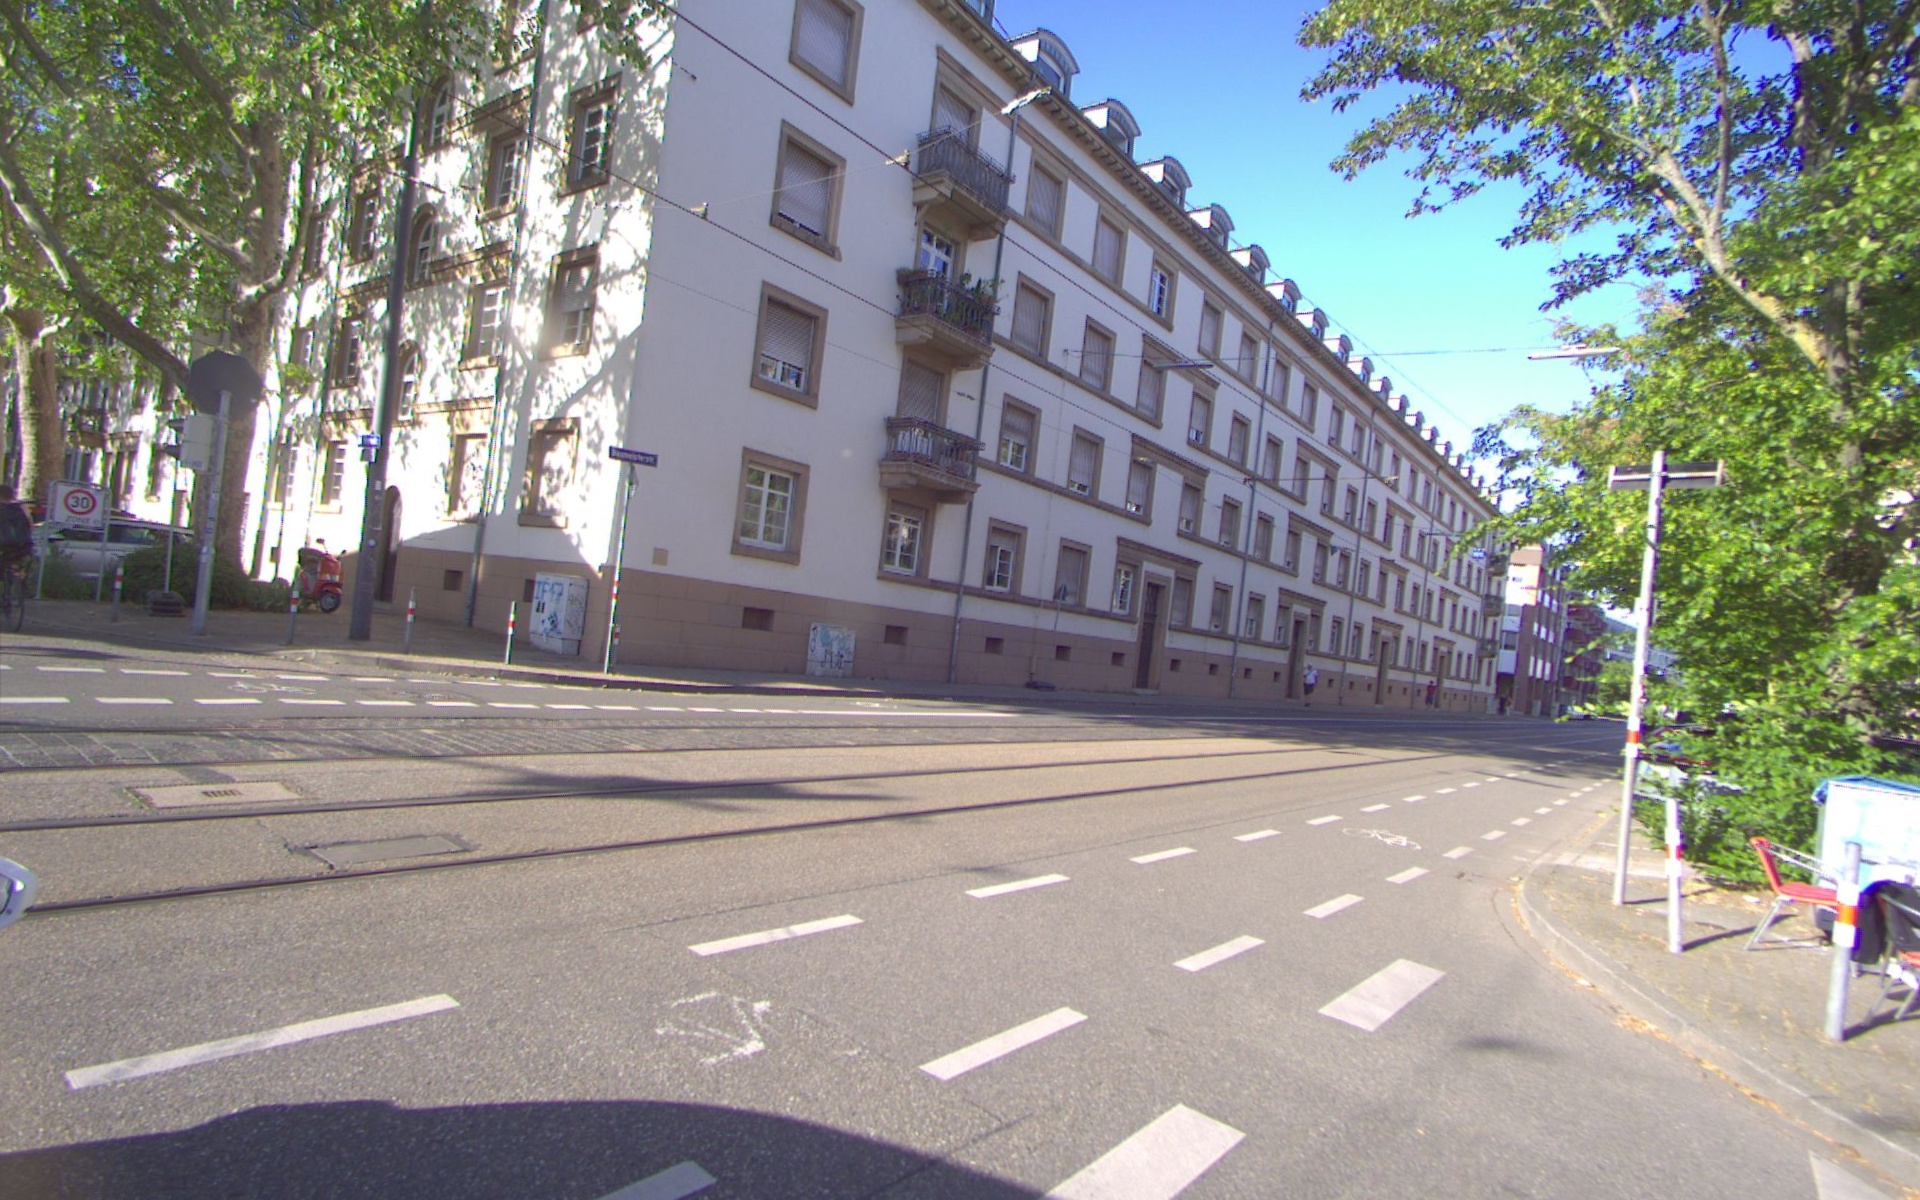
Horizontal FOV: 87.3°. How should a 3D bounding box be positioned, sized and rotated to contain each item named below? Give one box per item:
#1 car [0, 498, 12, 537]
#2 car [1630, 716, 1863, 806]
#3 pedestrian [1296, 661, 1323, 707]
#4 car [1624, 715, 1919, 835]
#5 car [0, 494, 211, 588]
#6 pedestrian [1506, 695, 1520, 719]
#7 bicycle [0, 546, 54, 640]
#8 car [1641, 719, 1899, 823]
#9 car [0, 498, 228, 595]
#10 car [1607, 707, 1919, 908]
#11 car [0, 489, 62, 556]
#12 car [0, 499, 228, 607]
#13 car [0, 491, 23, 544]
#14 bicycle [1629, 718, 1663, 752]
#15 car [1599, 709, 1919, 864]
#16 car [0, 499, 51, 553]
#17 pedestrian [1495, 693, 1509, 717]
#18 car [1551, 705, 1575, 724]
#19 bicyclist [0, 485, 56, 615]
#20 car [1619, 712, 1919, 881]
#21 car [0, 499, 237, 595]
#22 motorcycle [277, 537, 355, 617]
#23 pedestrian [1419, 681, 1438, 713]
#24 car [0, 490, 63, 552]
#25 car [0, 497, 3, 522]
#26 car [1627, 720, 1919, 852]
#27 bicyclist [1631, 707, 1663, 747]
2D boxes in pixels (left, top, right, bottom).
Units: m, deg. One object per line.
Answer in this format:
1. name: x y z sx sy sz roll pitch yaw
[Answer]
1. car: -41.865 -3.715 40.940 1.702 1.589 4.463 6 -2 37
2. car: 18.640 3.802 23.988 4.056 1.506 1.621 5 -1 5
3. pedestrian: 15.137 3.640 43.583 0.727 1.859 0.694 7 0 37
4. car: 15.051 3.177 18.815 4.061 1.506 1.620 5 -1 24
5. car: -21.536 -1.453 24.852 1.702 1.690 4.463 6 -2 37
6. pedestrian: 45.144 8.750 82.153 0.727 1.859 0.694 7 0 37
7. bicycle: -12.118 -0.141 12.620 1.879 1.027 0.690 6 -3 38
8. car: 17.313 3.601 21.786 4.069 1.506 1.616 5 -1 33
9. car: -18.616 -1.158 21.471 1.702 1.518 4.463 6 -2 37
10. car: 9.247 2.151 10.242 4.057 1.574 1.621 5 -1 14
11. car: -30.685 -2.629 30.734 1.702 1.858 4.464 7 -2 36
12. car: -17.145 -0.950 19.436 1.702 1.589 4.463 6 -2 37
13. car: -37.373 -3.343 36.580 1.702 1.858 4.464 7 -2 36
14. bicycle: 28.202 5.529 41.339 0.888 1.179 3.238 7 -2 37
15. car: 11.740 2.619 14.335 4.058 1.574 1.621 5 -1 19
16. car: -32.196 -2.637 32.039 1.702 1.589 4.463 6 -2 37
17. pedestrian: 44.557 8.639 82.623 0.727 1.859 0.694 7 0 37
18. car: 66.085 12.536 110.159 1.860 1.702 4.384 6 -3 35
19. bicyclist: -11.868 -0.637 12.490 0.659 1.530 0.677 7 -2 37
20. car: 10.755 2.429 12.366 4.056 1.574 1.621 5 -1 5
21. car: -19.935 -1.219 23.583 1.702 1.589 4.463 6 -2 37
22. motorcycle: -12.245 -0.448 19.110 1.736 1.348 0.514 7 -1 36
23. pedestrian: 29.130 6.024 62.514 0.727 1.859 0.694 7 0 37
24. car: -33.362 -2.894 33.798 1.702 1.858 4.464 7 -2 36
25. car: -35.594 -3.084 33.953 1.702 1.589 4.463 6 -2 37
26. car: 13.673 3.021 16.645 4.062 1.506 1.619 5 -1 25
27. bicyclist: 28.159 5.191 41.227 0.888 1.471 1.259 7 -1 38
